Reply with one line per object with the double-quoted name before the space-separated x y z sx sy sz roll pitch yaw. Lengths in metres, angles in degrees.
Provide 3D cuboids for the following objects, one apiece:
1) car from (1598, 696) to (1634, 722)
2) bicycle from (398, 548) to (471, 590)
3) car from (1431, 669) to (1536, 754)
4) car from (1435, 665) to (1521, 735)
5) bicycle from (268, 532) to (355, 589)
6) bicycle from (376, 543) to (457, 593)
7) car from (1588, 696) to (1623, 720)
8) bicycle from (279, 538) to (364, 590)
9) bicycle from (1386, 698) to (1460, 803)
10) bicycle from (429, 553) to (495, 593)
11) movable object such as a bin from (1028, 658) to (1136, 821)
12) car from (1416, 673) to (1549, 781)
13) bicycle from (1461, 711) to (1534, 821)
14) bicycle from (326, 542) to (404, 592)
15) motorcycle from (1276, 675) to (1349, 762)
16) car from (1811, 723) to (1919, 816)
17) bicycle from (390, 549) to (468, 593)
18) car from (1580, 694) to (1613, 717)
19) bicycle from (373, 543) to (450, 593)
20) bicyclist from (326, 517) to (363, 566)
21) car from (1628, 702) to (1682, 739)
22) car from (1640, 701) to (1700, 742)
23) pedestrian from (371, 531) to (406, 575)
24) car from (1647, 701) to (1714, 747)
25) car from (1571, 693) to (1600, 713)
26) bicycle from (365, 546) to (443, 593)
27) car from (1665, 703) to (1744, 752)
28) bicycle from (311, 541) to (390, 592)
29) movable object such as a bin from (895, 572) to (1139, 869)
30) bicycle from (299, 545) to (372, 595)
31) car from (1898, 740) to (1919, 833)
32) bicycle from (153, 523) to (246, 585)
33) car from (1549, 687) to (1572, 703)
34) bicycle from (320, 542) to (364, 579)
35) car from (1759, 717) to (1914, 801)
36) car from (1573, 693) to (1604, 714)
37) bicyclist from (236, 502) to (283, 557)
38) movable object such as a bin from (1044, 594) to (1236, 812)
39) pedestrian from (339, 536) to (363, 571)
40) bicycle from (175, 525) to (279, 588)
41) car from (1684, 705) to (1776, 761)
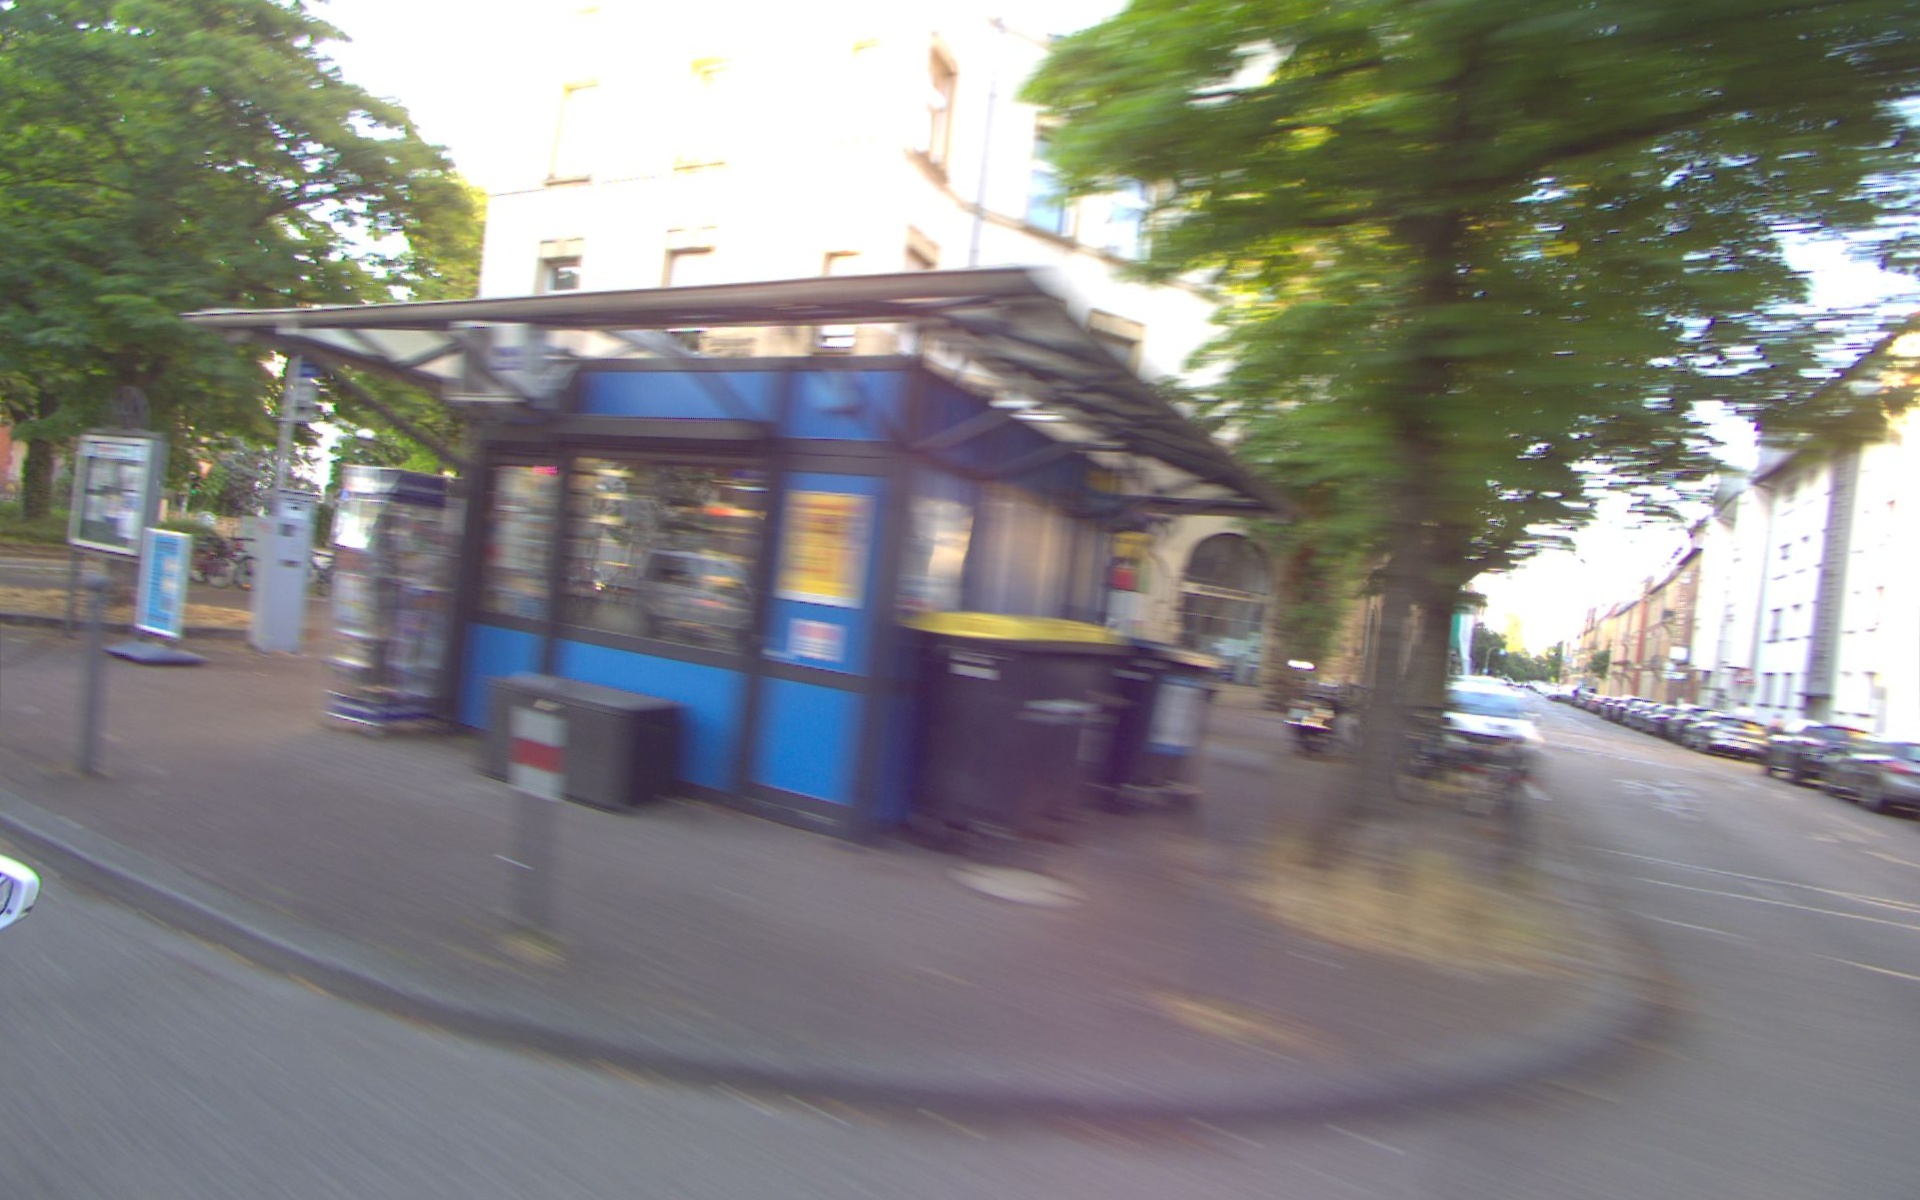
"car" 47.237 7.815 72.490 1.796 1.501 3.900 7 0 31
"bicycle" -15.993 -0.934 30.646 1.825 1.027 0.418 7 1 -13
"car" 11.841 2.491 22.857 1.794 1.500 4.002 7 -2 27
"car" 14.068 2.708 27.373 1.794 1.500 3.905 7 -2 27
"bicycle" -15.474 -0.938 24.029 1.579 1.162 0.554 7 1 -5
"bicycle" -15.836 -0.928 29.364 1.891 1.215 0.551 7 1 -16
"car" 49.905 8.307 77.813 1.795 1.501 3.902 7 0 28
"bicycle" -15.524 -0.866 24.471 1.579 1.033 0.554 7 1 -5
"bicycle" 5.377 1.695 11.634 0.569 1.008 1.737 7 0 29
"bicycle" -16.955 -0.905 34.290 1.842 1.118 0.567 7 0 -40
"movable object such as a bin" 0.849 0.944 6.951 0.479 1.014 0.480 8 1 29
"car" 9.479 2.245 18.343 1.794 1.500 3.905 7 -2 27
"bicycle" 6.052 1.822 11.329 0.569 1.008 1.737 7 0 29
"bicycle" -15.242 -0.836 25.797 1.580 1.089 0.418 7 1 -10
"motorcycle" 4.942 1.610 14.038 0.569 1.067 1.830 7 0 29
"car" 18.290 3.306 19.484 1.795 1.500 3.905 7 -2 28
"bicycle" -15.886 -0.862 30.109 1.891 1.078 0.551 7 0 -16
"car" 52.090 8.593 82.378 1.794 1.501 3.903 7 0 27
"bicycle" -15.602 -0.901 28.669 1.768 1.182 0.446 7 1 -13
"bicyclist" -20.208 -1.907 33.050 0.698 1.521 0.915 7 1 -18
"car" 35.370 6.093 51.283 1.796 1.501 3.900 7 0 31
"car" 32.768 5.576 46.515 1.796 1.501 3.900 7 0 31
"pedestrian" -30.050 -2.453 52.881 0.995 2.112 1.060 7 2 17
"car" 30.491 5.226 42.684 1.795 1.501 3.900 7 0 30
"car" 57.061 9.363 91.790 1.794 1.501 3.903 7 0 27
"bicycle" -15.591 -0.845 28.259 1.768 1.077 0.446 7 1 -13
"car" 27.967 4.762 37.887 1.795 1.500 3.903 7 -2 30
"bicycle" -15.366 -0.844 25.393 1.580 1.077 0.418 7 1 -10
"movable object such as a bin" 0.364 0.645 5.933 0.754 1.495 1.220 8 4 37
"bicycle" -13.707 -0.647 22.131 0.424 0.981 1.727 7 0 0
"car" 16.142 3.080 15.083 1.794 1.500 3.906 7 -2 26
"bicycle" -15.405 -0.937 20.379 1.577 1.052 0.432 7 1 7
"car" 68.867 10.837 115.365 1.794 1.501 3.903 7 0 27
"bicycle" -20.285 -1.288 33.051 0.698 1.083 1.827 7 0 -18
"car" 20.549 3.666 23.778 1.795 1.500 3.904 7 -2 29
"car" 54.260 8.910 86.905 1.794 1.501 3.903 7 0 27
"bicyclist" -19.830 -1.977 28.489 0.688 1.429 0.862 7 1 -13
"movable object such as a bin" 1.447 0.829 7.940 0.807 1.491 1.283 8 -3 37
"pedestrian" -34.094 -2.597 56.299 0.858 1.817 0.919 6 1 -22
"bicycle" -15.098 -0.896 20.717 1.863 1.052 0.432 7 1 7
"car" 25.857 4.419 33.907 1.795 1.500 3.903 7 -2 30
